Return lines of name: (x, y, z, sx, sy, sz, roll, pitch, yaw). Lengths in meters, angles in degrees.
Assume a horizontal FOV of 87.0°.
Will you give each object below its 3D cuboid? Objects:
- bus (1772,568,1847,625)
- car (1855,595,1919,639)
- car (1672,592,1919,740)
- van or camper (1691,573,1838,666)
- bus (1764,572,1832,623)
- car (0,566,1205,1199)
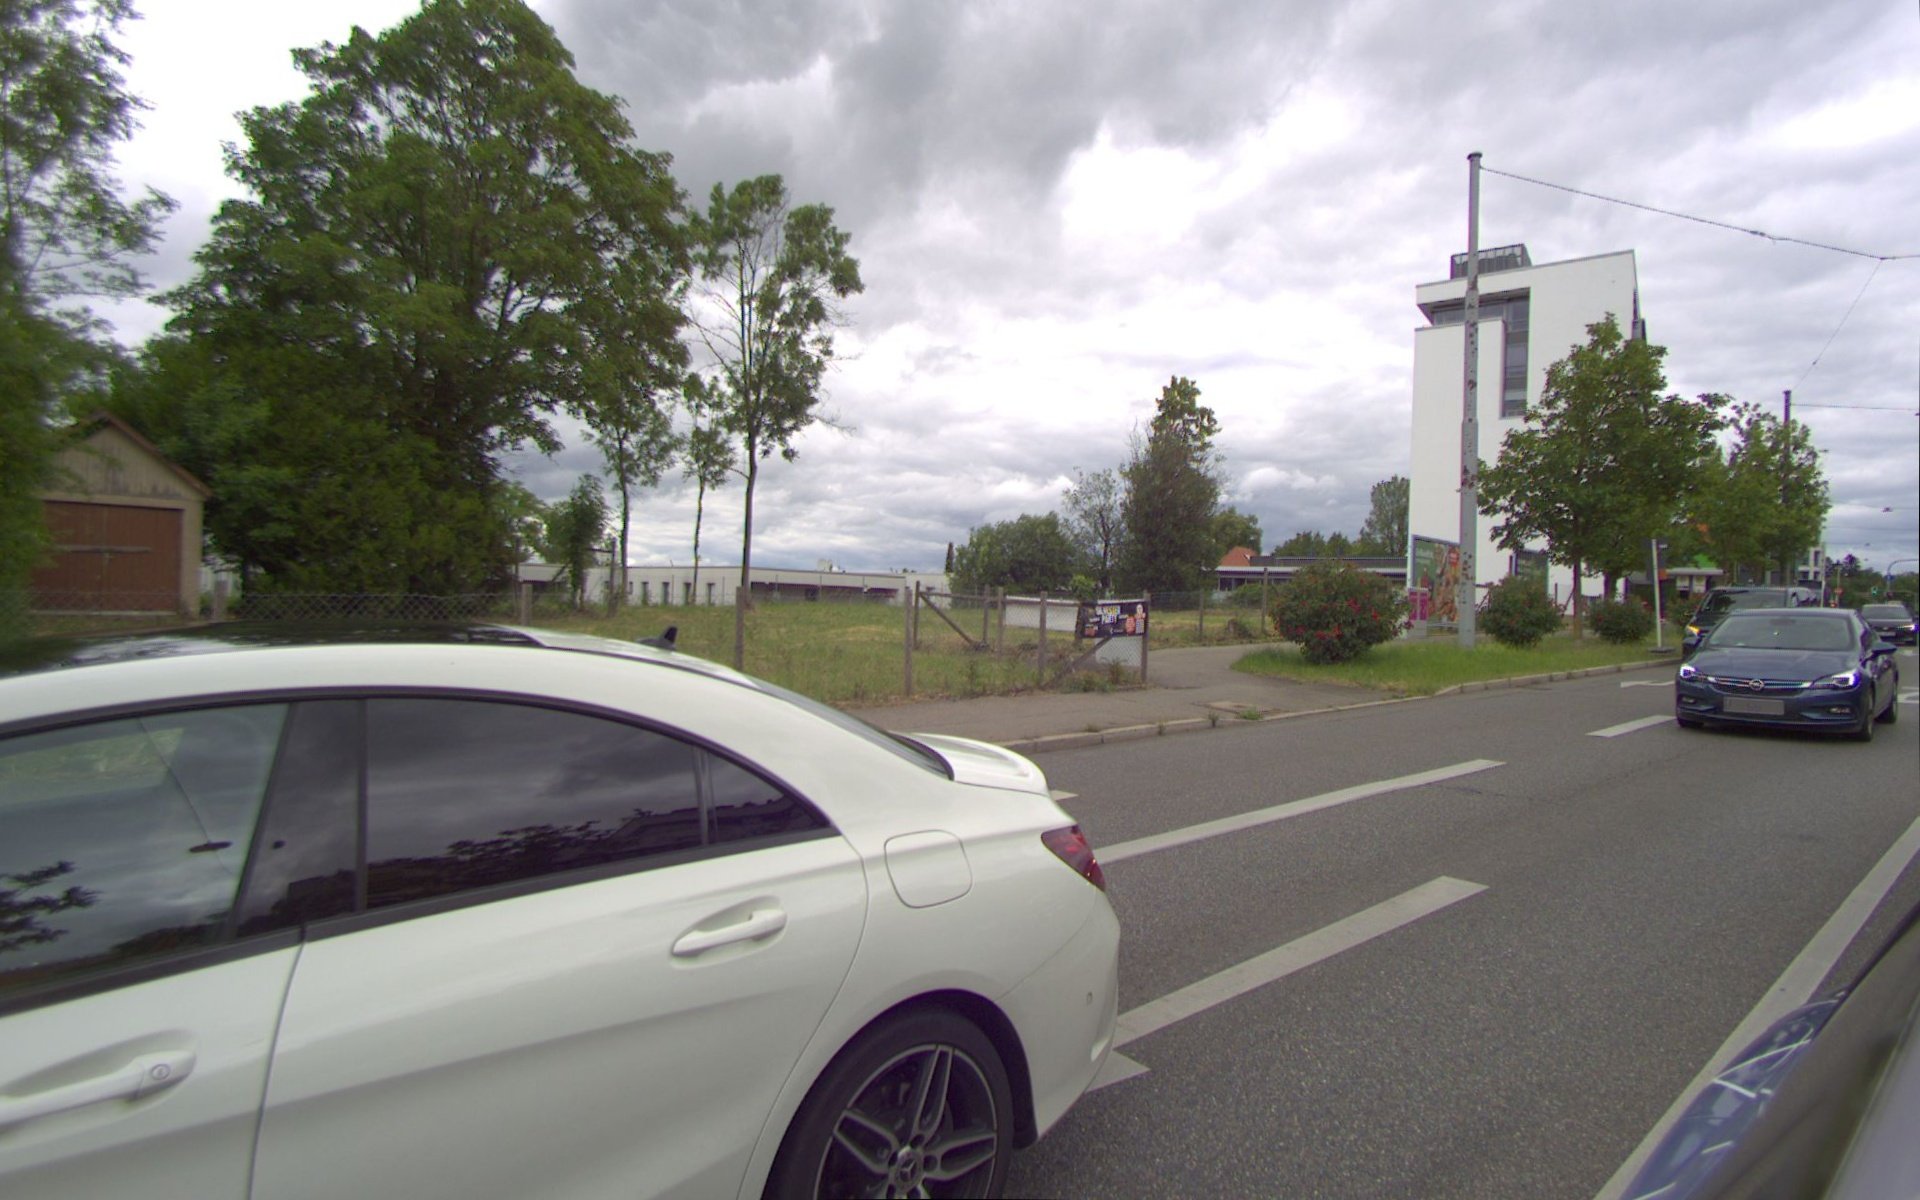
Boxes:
bus: (53.034, -0.198, 63.388, 2.975, 3.282, 9.734, 1, 1, 37)
car: (33.893, 0.594, 36.792, 1.727, 1.501, 4.308, 0, 0, 38)
car: (10.340, 0.682, 12.381, 4.293, 1.501, 1.733, 0, 0, -41)
van or camper: (18.240, 0.401, 22.870, 4.764, 1.902, 1.807, 0, 0, -41)
bus: (58.531, -0.156, 70.879, 3.028, 3.276, 9.214, 2, 1, 36)
car: (-1.737, 0.715, 1.785, 4.689, 1.524, 1.871, 1, 0, -41)
